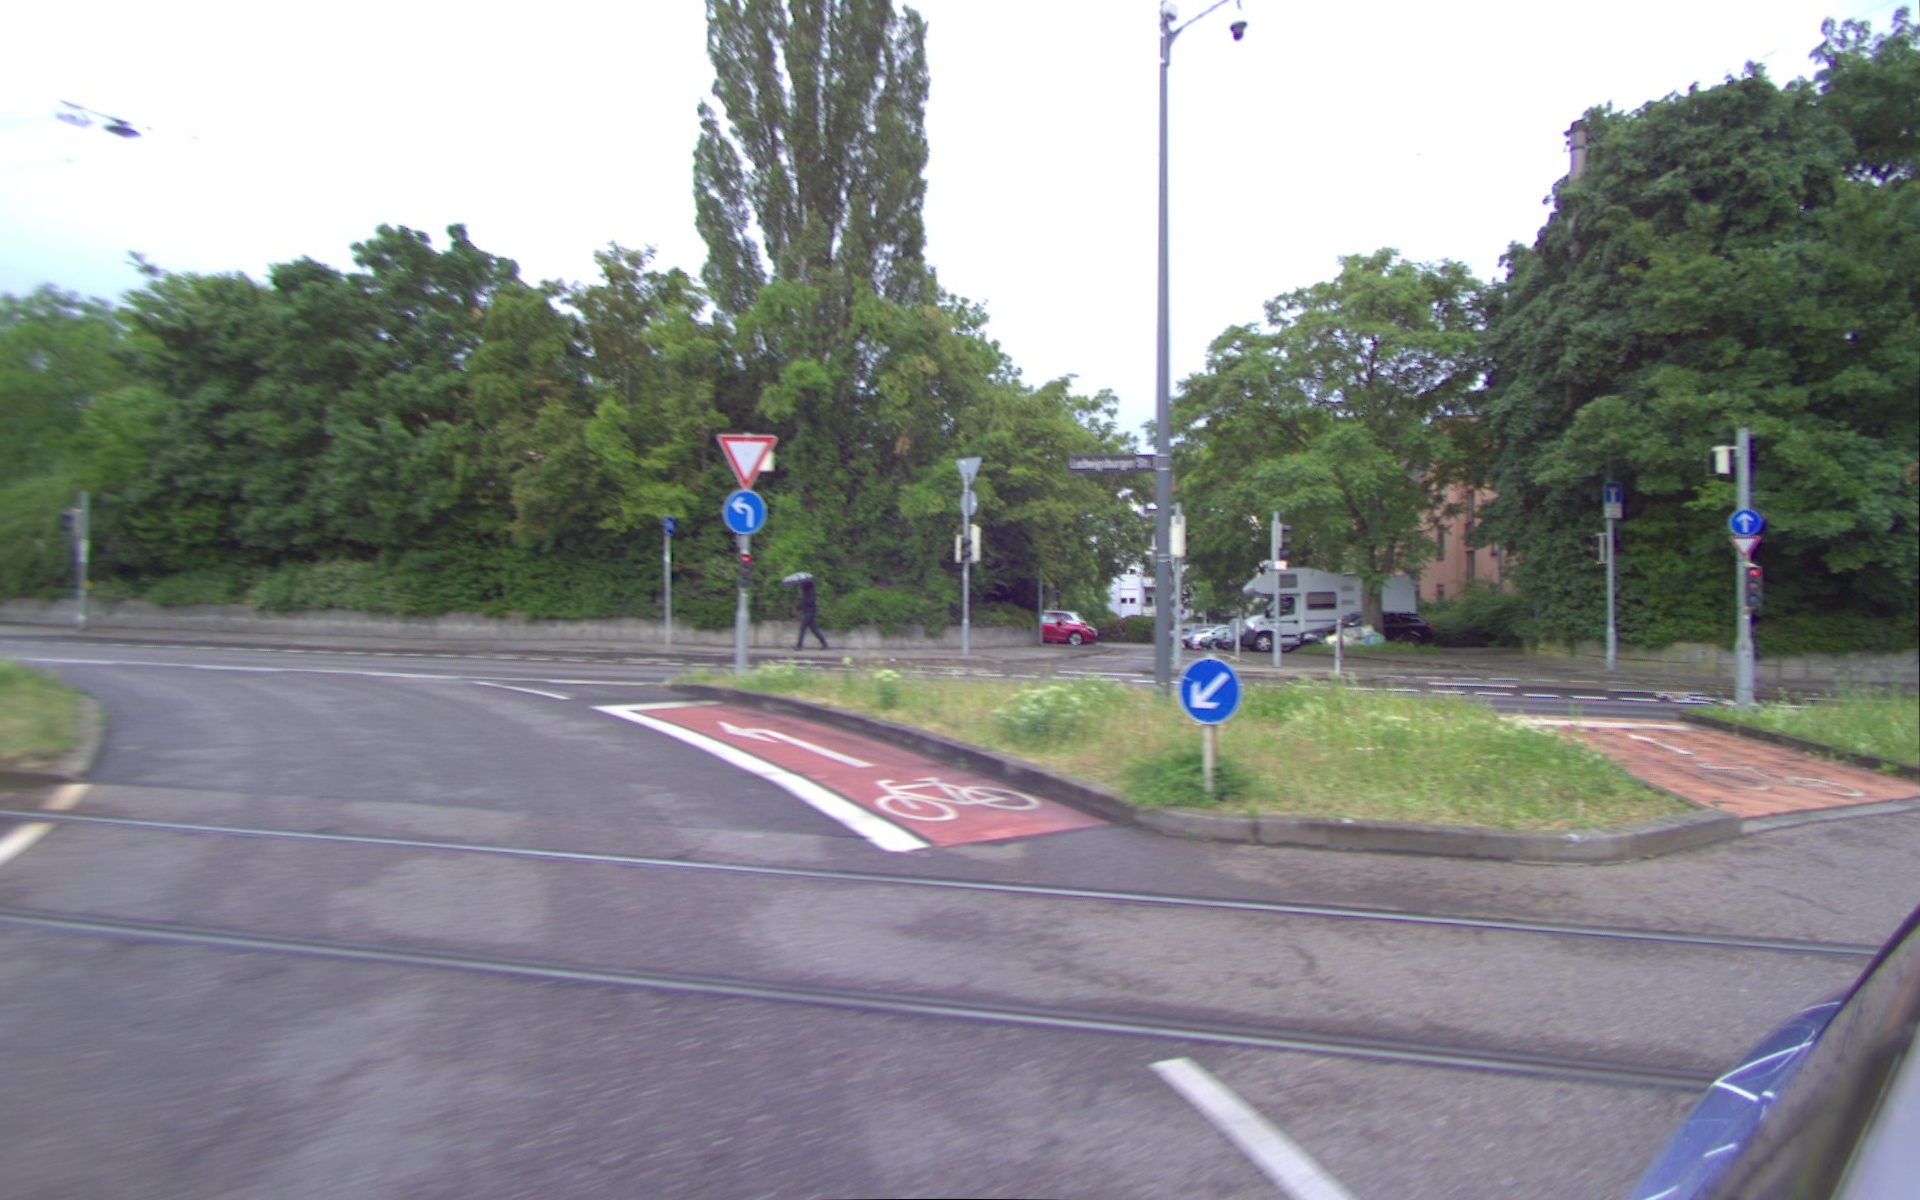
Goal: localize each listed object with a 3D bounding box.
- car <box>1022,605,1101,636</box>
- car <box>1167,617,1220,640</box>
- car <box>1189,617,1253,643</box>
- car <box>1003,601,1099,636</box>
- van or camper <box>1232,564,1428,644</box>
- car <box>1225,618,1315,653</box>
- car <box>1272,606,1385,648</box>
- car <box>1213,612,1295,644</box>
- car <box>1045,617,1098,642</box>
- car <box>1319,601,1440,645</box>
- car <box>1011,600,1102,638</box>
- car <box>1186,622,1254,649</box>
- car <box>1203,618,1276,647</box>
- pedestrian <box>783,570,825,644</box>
[{"bbox_3d":[5.988,1.213,59.928,4.613,1.754,1.876,0,0,6],"label":"car"},{"bbox_3d":[18.398,2.241,79.984,3.934,1.667,1.832,0,0,9],"label":"car"},{"bbox_3d":[17.164,1.962,66.732,3.934,1.568,1.832,0,0,9],"label":"car"},{"bbox_3d":[3.788,0.762,42.210,3.930,1.371,1.675,0,0,6],"label":"car"},{"bbox_3d":[13.413,0.110,37.143,6.324,2.789,2.425,0,0,9],"label":"van or camper"},{"bbox_3d":[15.042,1.706,49.294,3.934,1.568,1.832,0,0,9],"label":"car"},{"bbox_3d":[14.708,1.055,40.532,3.934,1.568,1.832,0,0,9],"label":"car"},{"bbox_3d":[15.532,1.467,53.625,3.934,1.568,1.832,0,0,9],"label":"car"},{"bbox_3d":[8.382,2.228,76.246,3.930,1.765,1.675,0,0,6],"label":"car"},{"bbox_3d":[14.106,0.757,34.158,3.412,1.371,1.675,0,0,6],"label":"car"},{"bbox_3d":[4.245,0.813,44.572,3.930,1.568,1.675,0,0,6],"label":"car"},{"bbox_3d":[16.185,2.176,63.138,3.934,1.568,1.832,0,0,9],"label":"car"},{"bbox_3d":[16.590,1.922,60.210,3.934,1.568,1.832,0,0,9],"label":"car"},{"bbox_3d":[-3.553,0.170,23.094,0.673,1.627,0.807,-2,-2,12],"label":"pedestrian"}]
